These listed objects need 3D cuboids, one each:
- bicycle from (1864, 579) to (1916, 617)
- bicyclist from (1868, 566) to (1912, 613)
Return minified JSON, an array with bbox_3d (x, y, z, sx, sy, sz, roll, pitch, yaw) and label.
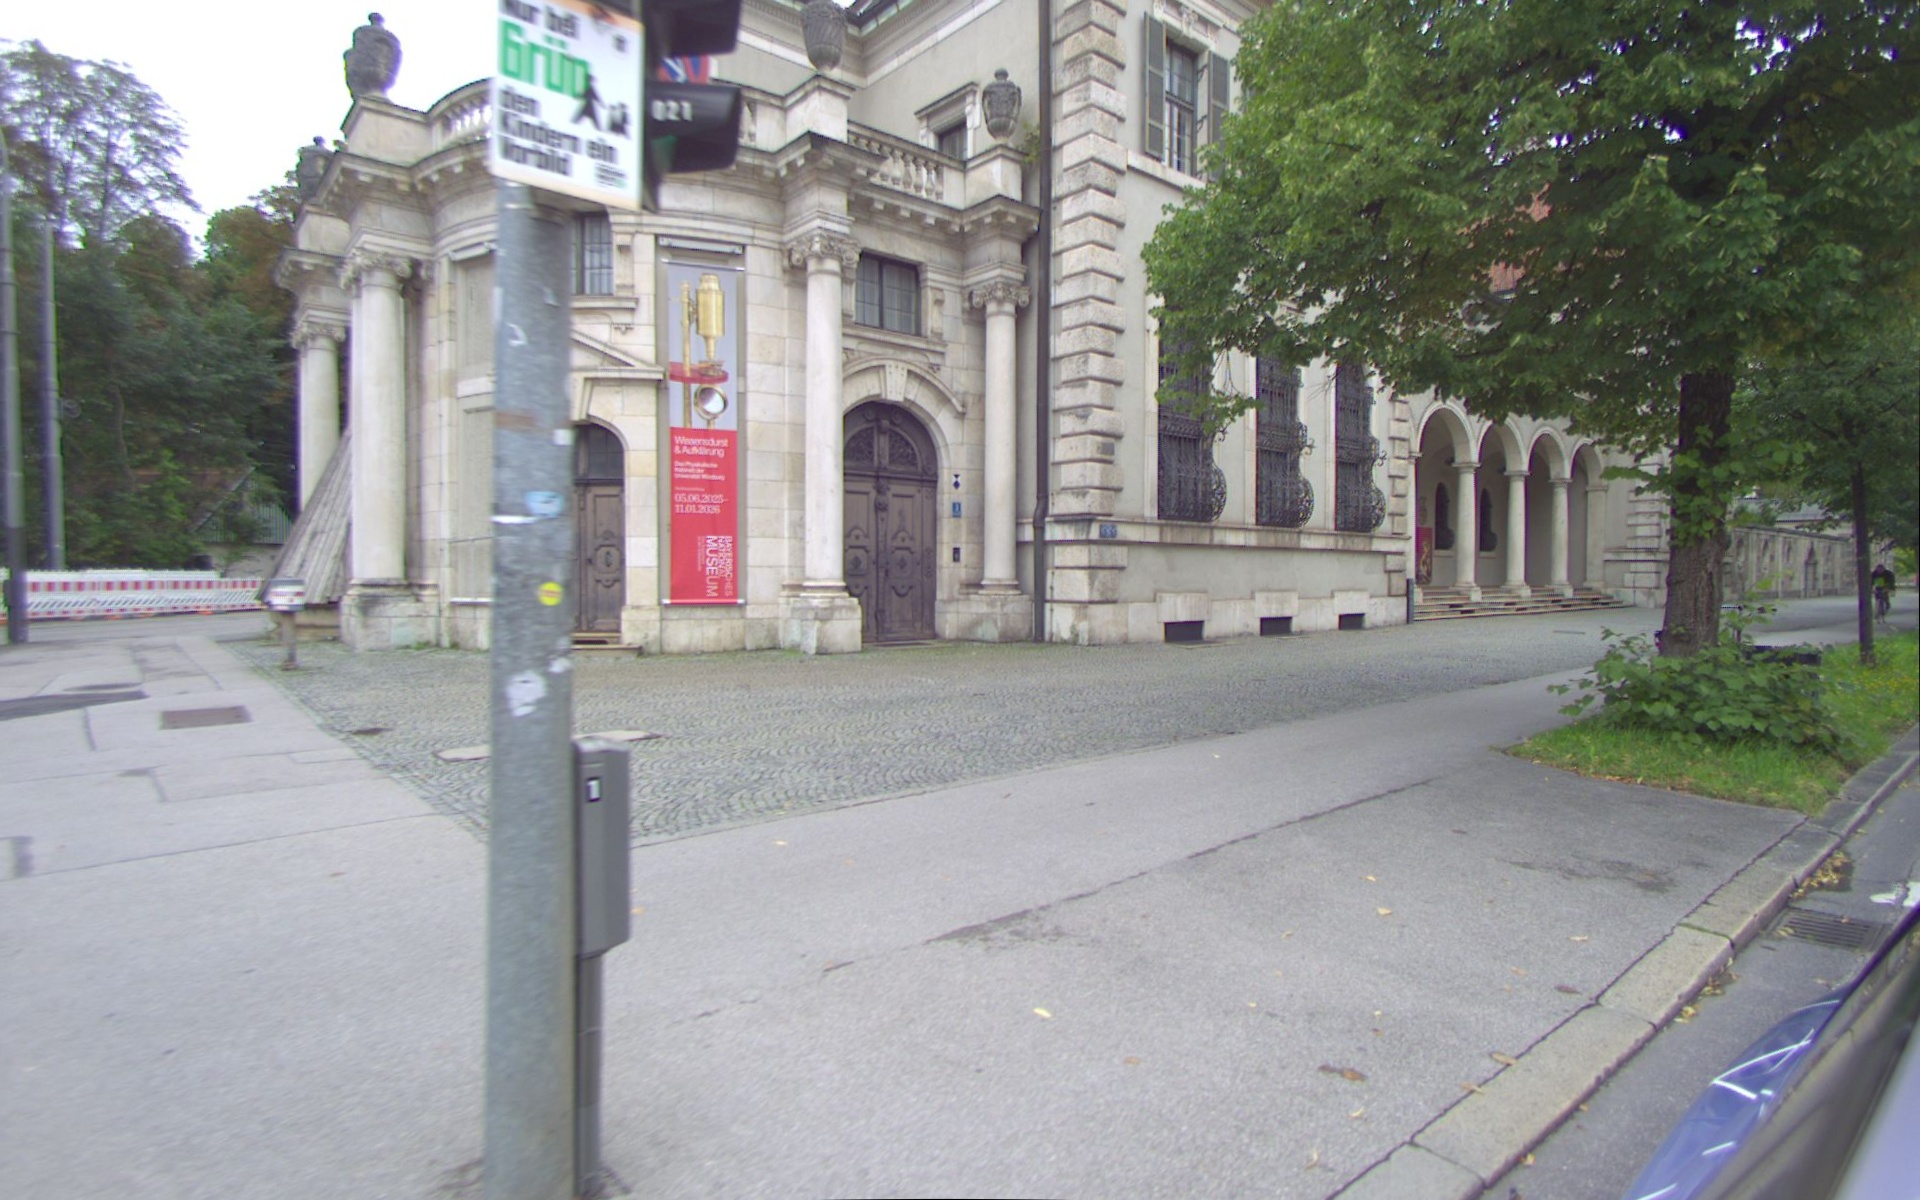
[{"bbox_3d":[26.333,-0.076,28.642,2.022,1.019,0.829,-2,1,-41],"label":"bicycle"},{"bbox_3d":[26.390,-0.299,28.710,0.878,1.329,0.807,-1,0,-40],"label":"bicyclist"}]
